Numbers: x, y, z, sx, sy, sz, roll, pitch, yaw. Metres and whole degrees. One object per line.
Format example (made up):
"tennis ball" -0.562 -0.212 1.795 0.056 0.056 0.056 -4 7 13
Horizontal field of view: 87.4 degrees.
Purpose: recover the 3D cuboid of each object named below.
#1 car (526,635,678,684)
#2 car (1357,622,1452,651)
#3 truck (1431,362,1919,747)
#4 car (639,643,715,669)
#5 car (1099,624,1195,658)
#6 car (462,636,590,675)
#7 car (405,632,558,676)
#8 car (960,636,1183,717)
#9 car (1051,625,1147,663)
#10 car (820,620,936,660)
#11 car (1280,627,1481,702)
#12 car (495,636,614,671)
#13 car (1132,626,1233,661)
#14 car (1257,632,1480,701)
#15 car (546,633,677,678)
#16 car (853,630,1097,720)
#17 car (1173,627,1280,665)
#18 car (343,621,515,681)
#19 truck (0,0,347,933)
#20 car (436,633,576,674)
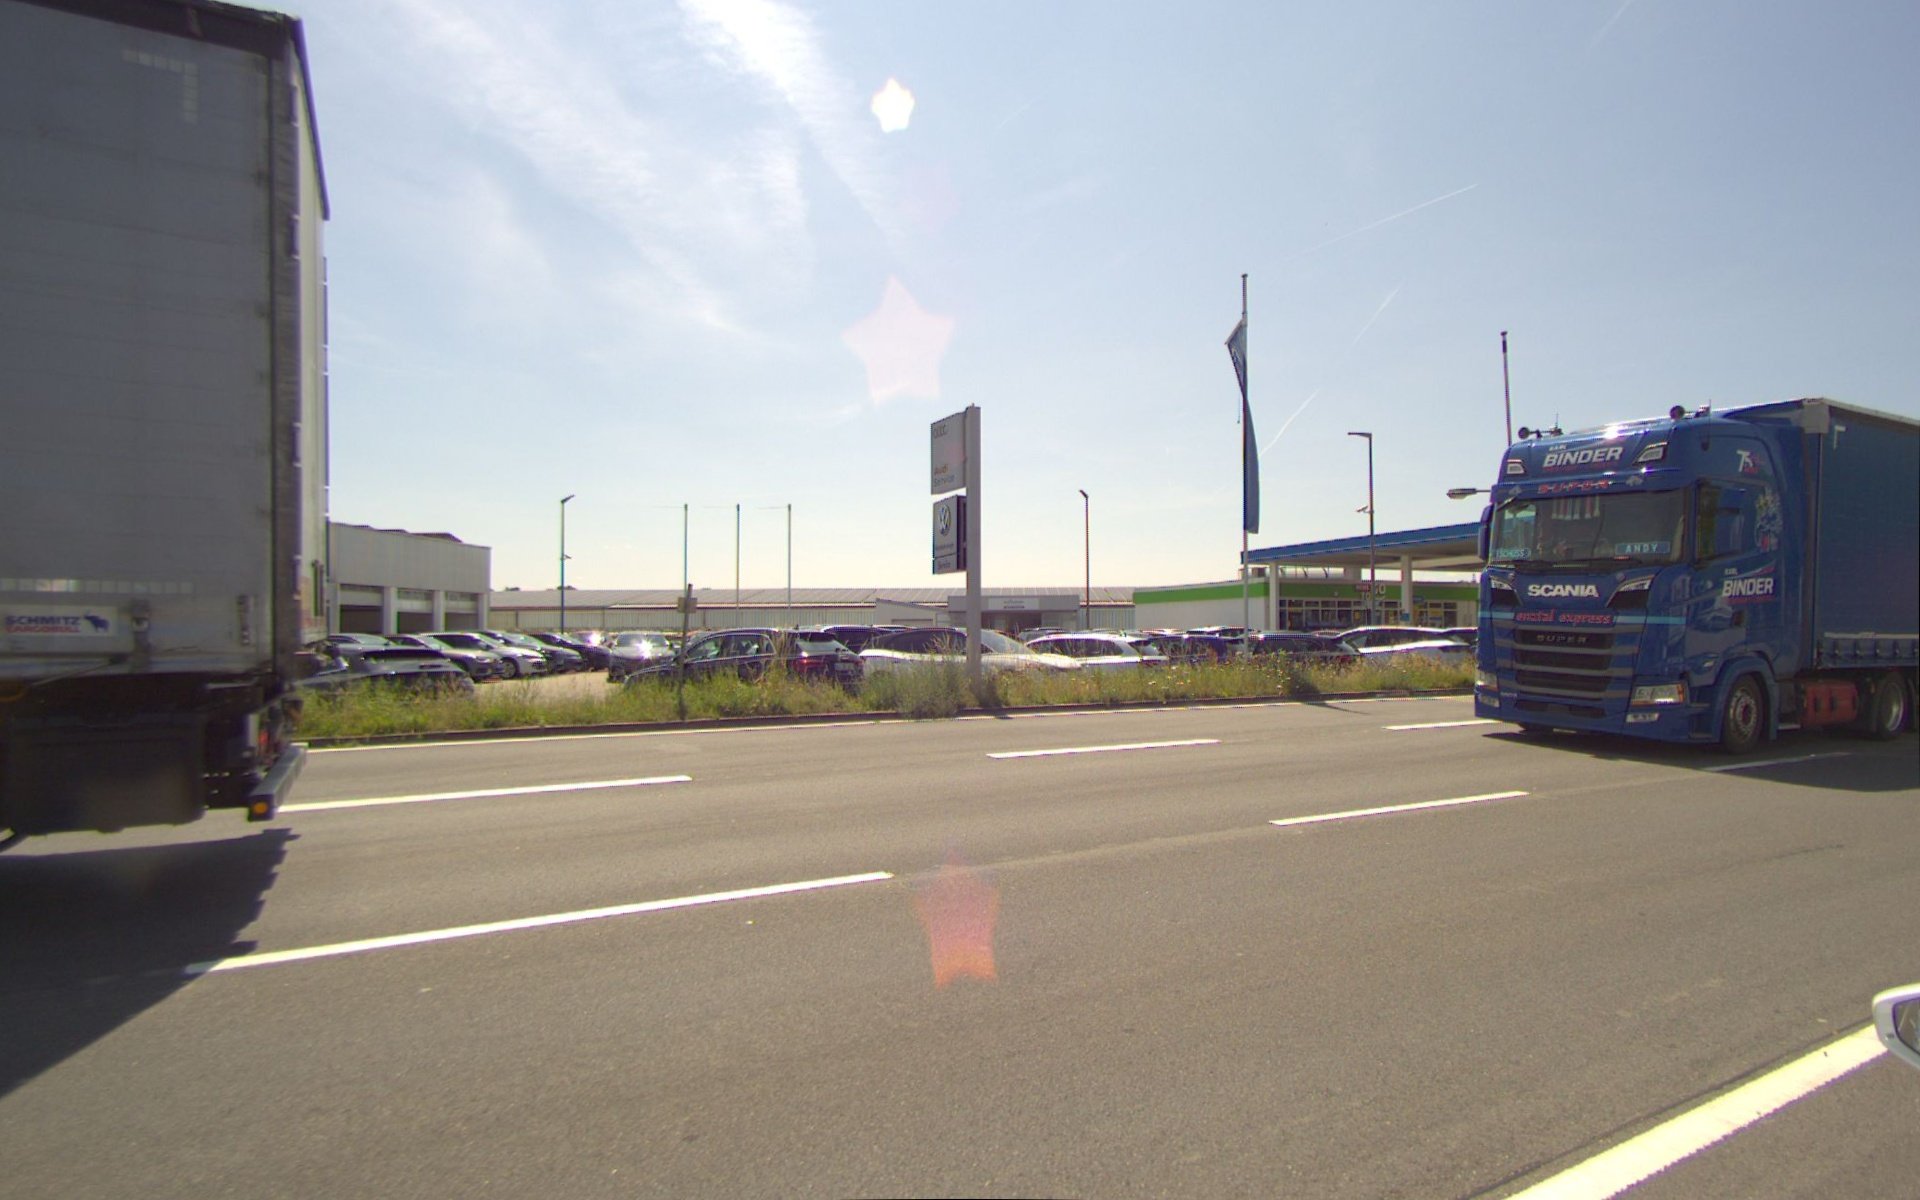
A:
"car" -10.144 1.673 28.727 3.933 1.300 1.659 1 0 -15
"car" 22.017 1.803 49.758 4.322 1.396 1.988 1 -1 -24
"truck" 14.138 -0.255 15.397 16.786 3.940 2.834 2 -1 -27
"car" -12.196 2.414 43.453 3.098 1.043 1.304 1 -1 -14
"car" 7.635 1.661 40.931 3.605 1.300 1.652 1 -1 -28
"car" -15.437 1.974 35.928 3.930 1.300 1.660 1 -1 -12
"car" -14.793 1.651 31.194 3.925 1.300 1.662 1 -1 -6
"car" 2.193 1.465 20.182 4.112 1.474 1.777 -1 -2 33
"car" 6.174 1.925 44.418 3.953 1.595 1.832 1 -1 -30
"car" -2.789 1.346 33.946 3.598 1.300 1.655 1 -1 -22
"car" 9.844 1.443 23.609 4.111 1.607 1.777 0 -1 33
"car" -15.400 2.028 38.313 3.928 1.300 1.661 1 -1 -10
"car" 8.579 1.651 38.632 3.605 1.300 1.652 1 -1 -28
"car" 8.573 1.332 21.188 4.112 1.264 1.777 0 -1 34
"car" -10.618 1.695 30.837 3.588 1.300 1.659 1 0 -13
"car" 0.217 1.306 18.392 4.190 1.474 1.777 -1 -2 33
"car" 9.656 1.644 36.329 3.605 1.300 1.652 1 -1 -28
"car" -14.919 1.428 28.413 3.930 1.625 1.740 1 -1 -12
"truck" -10.580 -0.784 1.585 16.298 3.940 2.775 2 -1 -32
"car" -15.134 1.774 33.623 3.925 1.300 1.662 1 -1 -6
